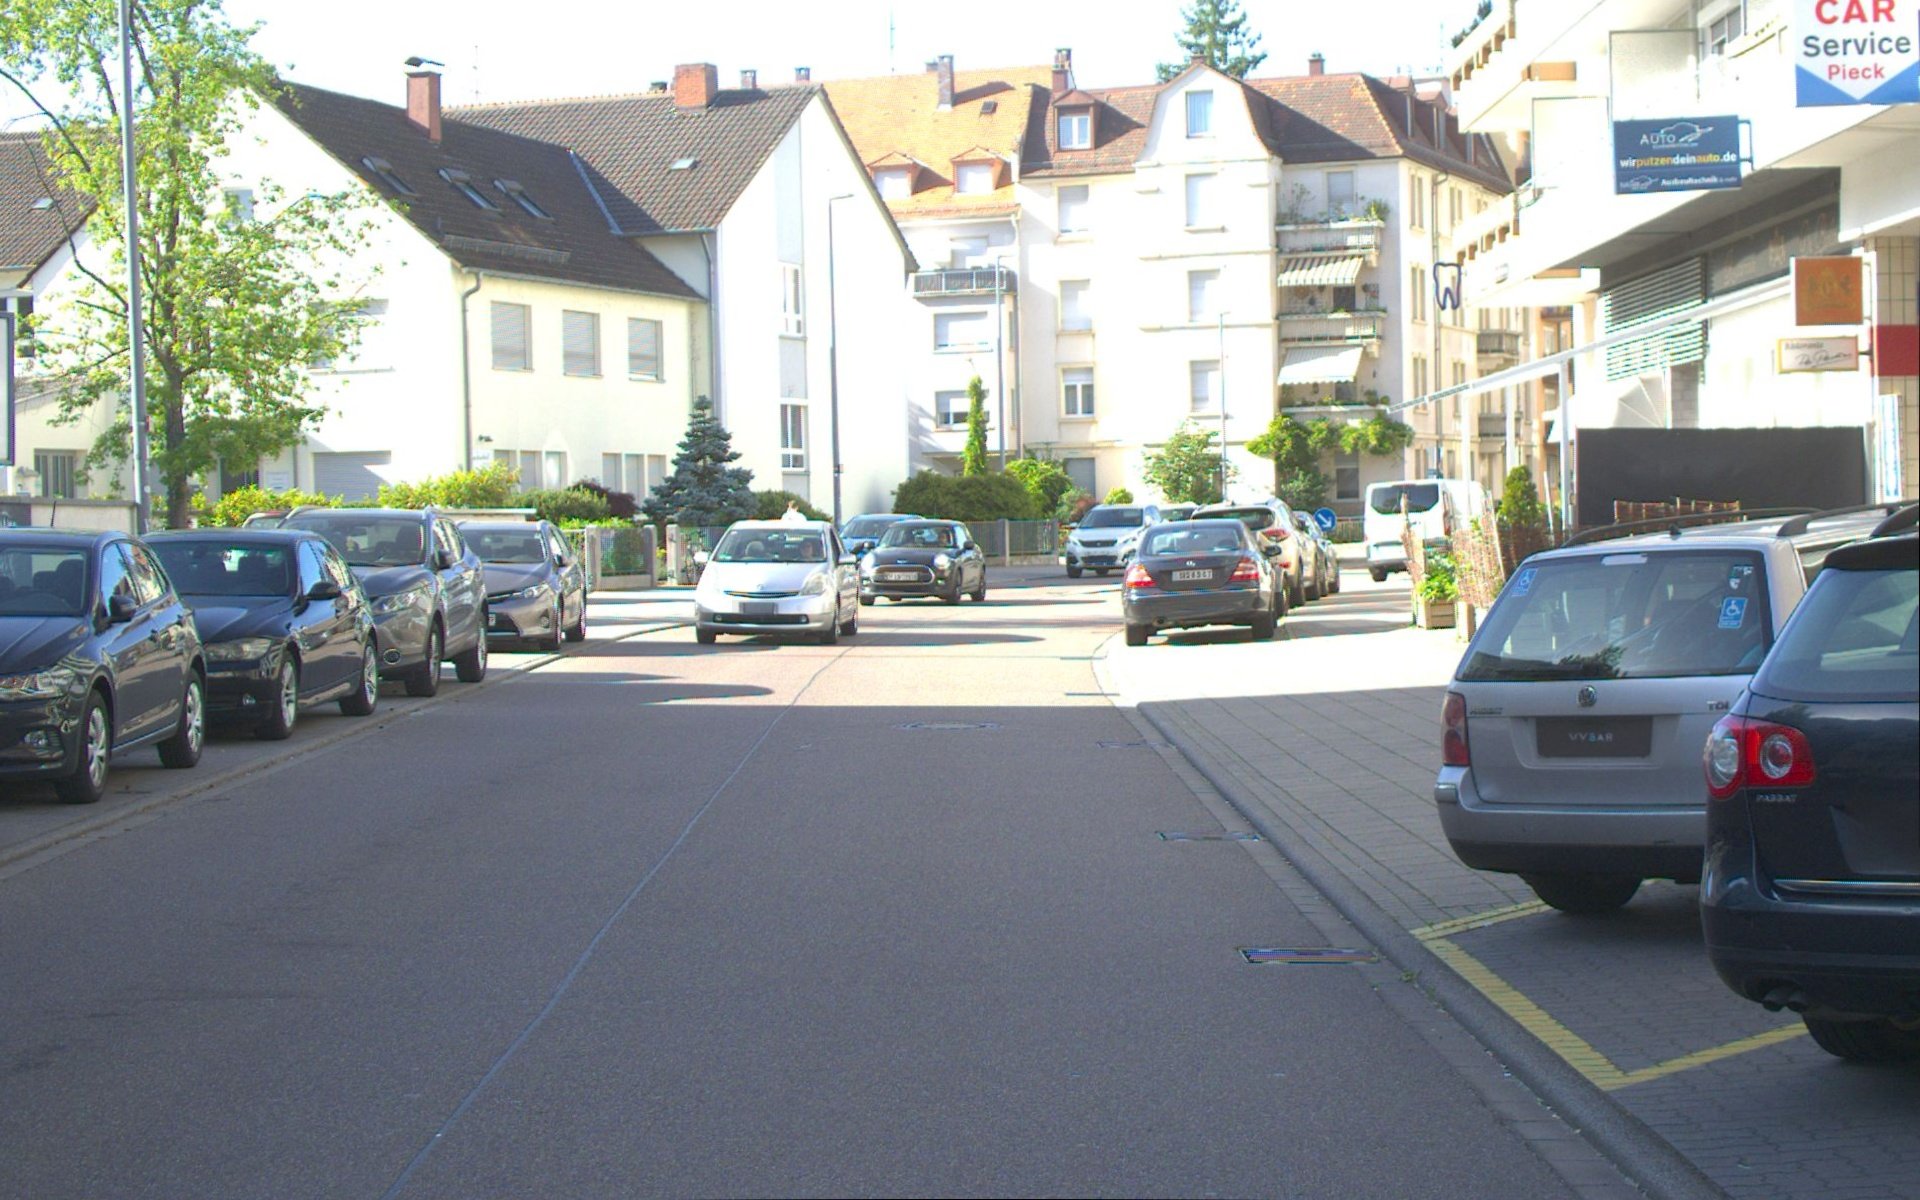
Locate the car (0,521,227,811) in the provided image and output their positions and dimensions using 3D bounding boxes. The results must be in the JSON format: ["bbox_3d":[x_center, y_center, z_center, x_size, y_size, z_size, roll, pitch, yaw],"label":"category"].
[{"bbox_3d":[-5.214,0.289,19.047,1.598,1.435,4.001,-1,1,-2],"label":"car"}]

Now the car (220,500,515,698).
[{"bbox_3d":[-5.117,-0.073,30.237,1.720,1.581,4.421,-1,2,1],"label":"car"}]

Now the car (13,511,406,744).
[{"bbox_3d":[-5.216,0.123,24.472,1.726,1.460,4.439,-1,2,1],"label":"car"}]

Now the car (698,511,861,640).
[{"bbox_3d":[-2.211,-0.342,42.966,1.726,1.480,4.106,-1,2,1],"label":"car"}]

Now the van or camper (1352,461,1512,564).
[{"bbox_3d":[9.723,-1.817,70.507,2.023,1.940,4.698,-3,1,23],"label":"van or camper"}]

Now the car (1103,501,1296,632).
[{"bbox_3d":[2.935,-0.419,41.218,1.971,1.445,5.002,-1,1,8],"label":"car"}]

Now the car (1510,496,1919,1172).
[{"bbox_3d":[3.515,0.444,9.311,1.755,1.507,4.316,-2,1,45],"label":"car"}]

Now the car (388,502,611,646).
[{"bbox_3d":[-5.300,-0.354,40.196,1.993,1.529,4.919,-1,2,-1],"label":"car"}]

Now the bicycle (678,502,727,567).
[{"bbox_3d":[-5.210,-1.314,69.666,0.456,1.246,1.927,-1,-1,12],"label":"bicycle"}]

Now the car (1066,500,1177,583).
[{"bbox_3d":[3.704,-1.302,78.343,1.920,1.719,4.334,-1,-1,10],"label":"car"}]

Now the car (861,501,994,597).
[{"bbox_3d":[-0.523,-0.847,58.828,1.740,1.507,3.729,-1,-1,8],"label":"car"}]

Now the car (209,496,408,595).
[{"bbox_3d":[-10.931,-0.887,57.829,1.802,1.550,3.184,-1,-1,23],"label":"car"}]

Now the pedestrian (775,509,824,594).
[{"bbox_3d":[-3.249,-0.976,69.605,0.683,1.698,0.823,-1,-1,21],"label":"pedestrian"}]

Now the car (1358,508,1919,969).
[{"bbox_3d":[3.723,0.383,13.215,4.634,1.461,1.690,-3,1,-43],"label":"car"}]

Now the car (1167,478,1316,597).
[{"bbox_3d":[4.345,-0.919,52.582,1.818,1.648,4.558,-1,-1,10],"label":"car"}]

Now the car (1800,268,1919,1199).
[{"bbox_3d":[3.701,0.290,5.880,4.517,1.891,2.049,-4,0,-41],"label":"car"}]

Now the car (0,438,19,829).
[{"bbox_3d":[-5.276,0.225,14.266,1.687,1.832,4.342,-1,2,-3],"label":"car"}]
